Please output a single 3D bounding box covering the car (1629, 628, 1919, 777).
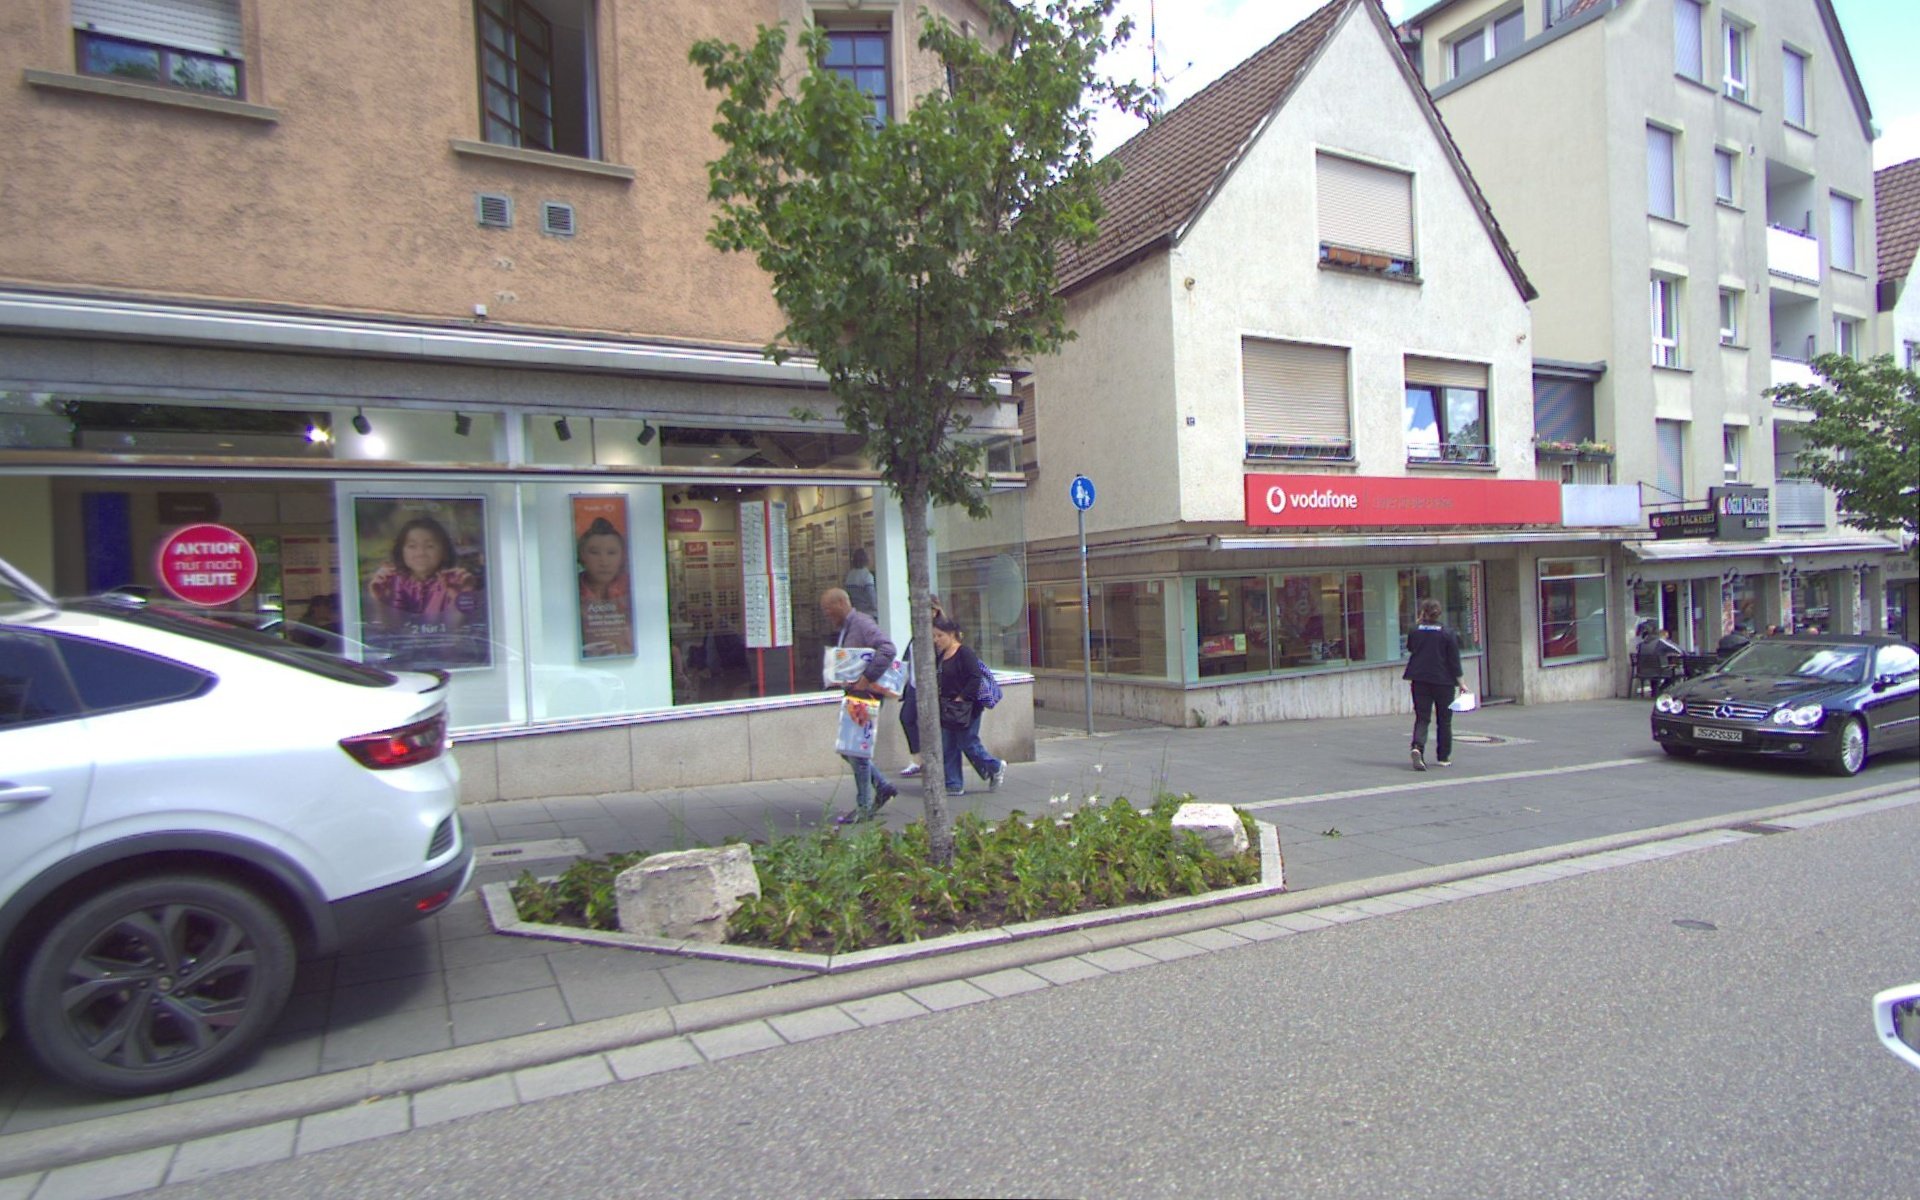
[{"bbox_3d":[9.766,1.051,11.525,4.389,1.410,1.650,1,-1,-29],"label":"car"}]

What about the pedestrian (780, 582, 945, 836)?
[{"bbox_3d":[-0.718,0.739,7.302,0.896,1.688,0.866,1,-1,-31],"label":"pedestrian"}]

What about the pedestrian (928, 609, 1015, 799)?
[{"bbox_3d":[0.093,0.828,8.283,0.522,1.497,0.493,1,-1,-31],"label":"pedestrian"}]

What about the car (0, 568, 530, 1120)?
[{"bbox_3d":[-3.886,0.696,3.227,4.405,1.594,1.716,1,-1,-32],"label":"car"}]

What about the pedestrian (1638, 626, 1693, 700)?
[{"bbox_3d":[12.440,1.097,17.720,0.591,1.263,0.593,0,0,-29],"label":"pedestrian"}]

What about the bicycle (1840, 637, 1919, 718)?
[{"bbox_3d":[13.929,1.134,15.101,1.885,1.121,0.481,1,0,-31],"label":"bicycle"}]

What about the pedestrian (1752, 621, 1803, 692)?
[{"bbox_3d":[15.268,1.037,18.762,0.591,1.284,0.547,0,0,-29],"label":"pedestrian"}]

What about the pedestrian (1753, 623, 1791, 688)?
[{"bbox_3d":[16.291,1.101,20.150,0.560,1.266,0.425,-1,1,-29],"label":"pedestrian"}]

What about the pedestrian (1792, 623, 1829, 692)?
[{"bbox_3d":[16.535,1.106,19.527,0.448,1.317,0.419,-1,1,-29],"label":"pedestrian"}]

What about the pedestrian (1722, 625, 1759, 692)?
[{"bbox_3d":[15.045,1.115,19.363,0.494,1.266,0.393,-1,1,-29],"label":"pedestrian"}]

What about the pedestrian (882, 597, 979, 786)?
[{"bbox_3d":[-0.269,0.788,8.969,0.635,1.603,0.610,1,-1,-31],"label":"pedestrian"}]

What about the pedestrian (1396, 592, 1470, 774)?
[{"bbox_3d":[4.852,0.820,10.337,0.649,1.784,0.777,0,-1,24],"label":"pedestrian"}]
